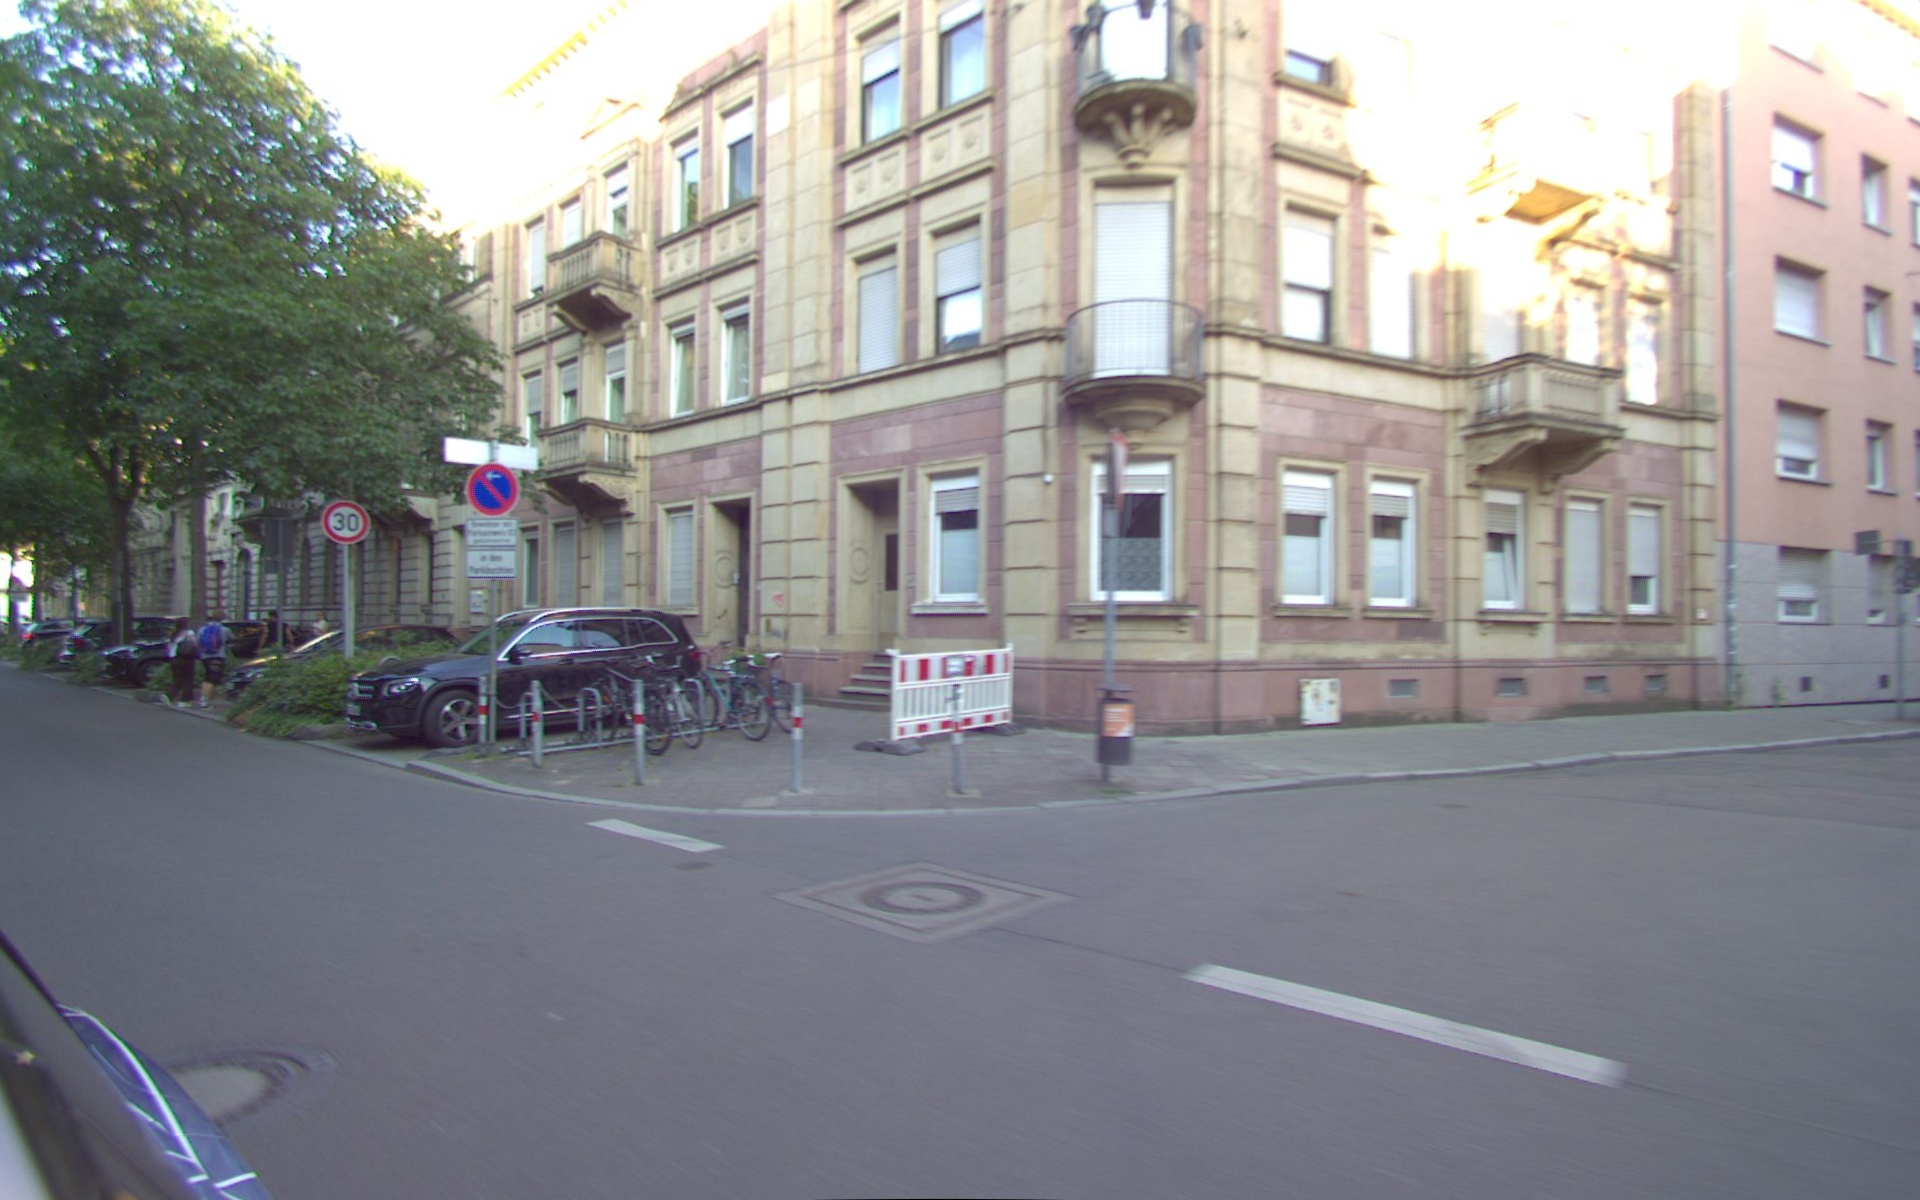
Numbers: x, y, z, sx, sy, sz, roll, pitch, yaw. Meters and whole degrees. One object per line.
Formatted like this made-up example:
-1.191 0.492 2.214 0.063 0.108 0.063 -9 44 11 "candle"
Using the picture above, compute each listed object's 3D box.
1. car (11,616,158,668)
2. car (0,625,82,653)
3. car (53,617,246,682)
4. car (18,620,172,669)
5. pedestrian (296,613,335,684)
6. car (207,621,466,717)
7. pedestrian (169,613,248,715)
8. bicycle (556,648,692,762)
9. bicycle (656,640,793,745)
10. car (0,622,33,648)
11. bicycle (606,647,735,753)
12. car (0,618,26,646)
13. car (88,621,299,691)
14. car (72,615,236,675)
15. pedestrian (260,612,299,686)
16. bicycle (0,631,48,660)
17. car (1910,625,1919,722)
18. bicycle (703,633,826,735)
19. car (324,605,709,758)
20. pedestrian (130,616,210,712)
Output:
-32.970 1.521 38.180 1.780 1.608 3.924 -1 2 42 "car"
-49.464 2.068 53.493 1.916 1.401 4.464 -1 -1 42 "car"
-23.684 1.397 29.671 1.907 1.685 4.157 -2 -1 42 "car"
-30.457 1.536 35.717 1.764 1.397 3.923 -3 1 42 "car"
-16.317 1.202 25.619 0.725 1.752 0.672 0 -1 -42 "pedestrian"
-11.340 1.187 18.564 1.871 1.469 3.654 -2 -1 41 "car"
-13.294 1.123 17.925 0.784 1.750 0.833 1 -2 -8 "pedestrian"
-3.760 1.126 11.257 1.860 1.067 0.517 1 2 40 "bicycle"
-2.876 1.074 12.270 1.861 1.070 0.661 1 2 42 "bicycle"
-57.659 2.075 59.795 1.827 1.569 4.123 -1 -2 44 "car"
-3.382 1.123 11.733 1.861 1.027 0.517 1 2 42 "bicycle"
-63.088 2.106 64.994 1.889 1.735 4.381 -1 0 39 "car"
-18.853 1.313 24.996 1.908 1.544 3.901 -1 -1 44 "car"
-25.253 1.361 31.785 1.713 1.685 3.762 -2 -1 40 "car"
-16.678 1.183 24.802 0.725 1.752 0.672 0 -1 -42 "pedestrian"
-41.868 2.017 45.160 1.750 1.241 0.500 1 -1 -43 "bicycle"
18.152 1.279 16.895 4.074 1.603 2.007 1 1 -26 "car"
-2.504 1.023 12.831 1.861 1.116 0.511 1 2 42 "bicycle"
-5.802 0.953 13.657 1.872 1.663 4.378 -2 -1 42 "car"
-14.215 1.137 18.239 0.784 1.683 0.833 1 -2 -8 "pedestrian"
